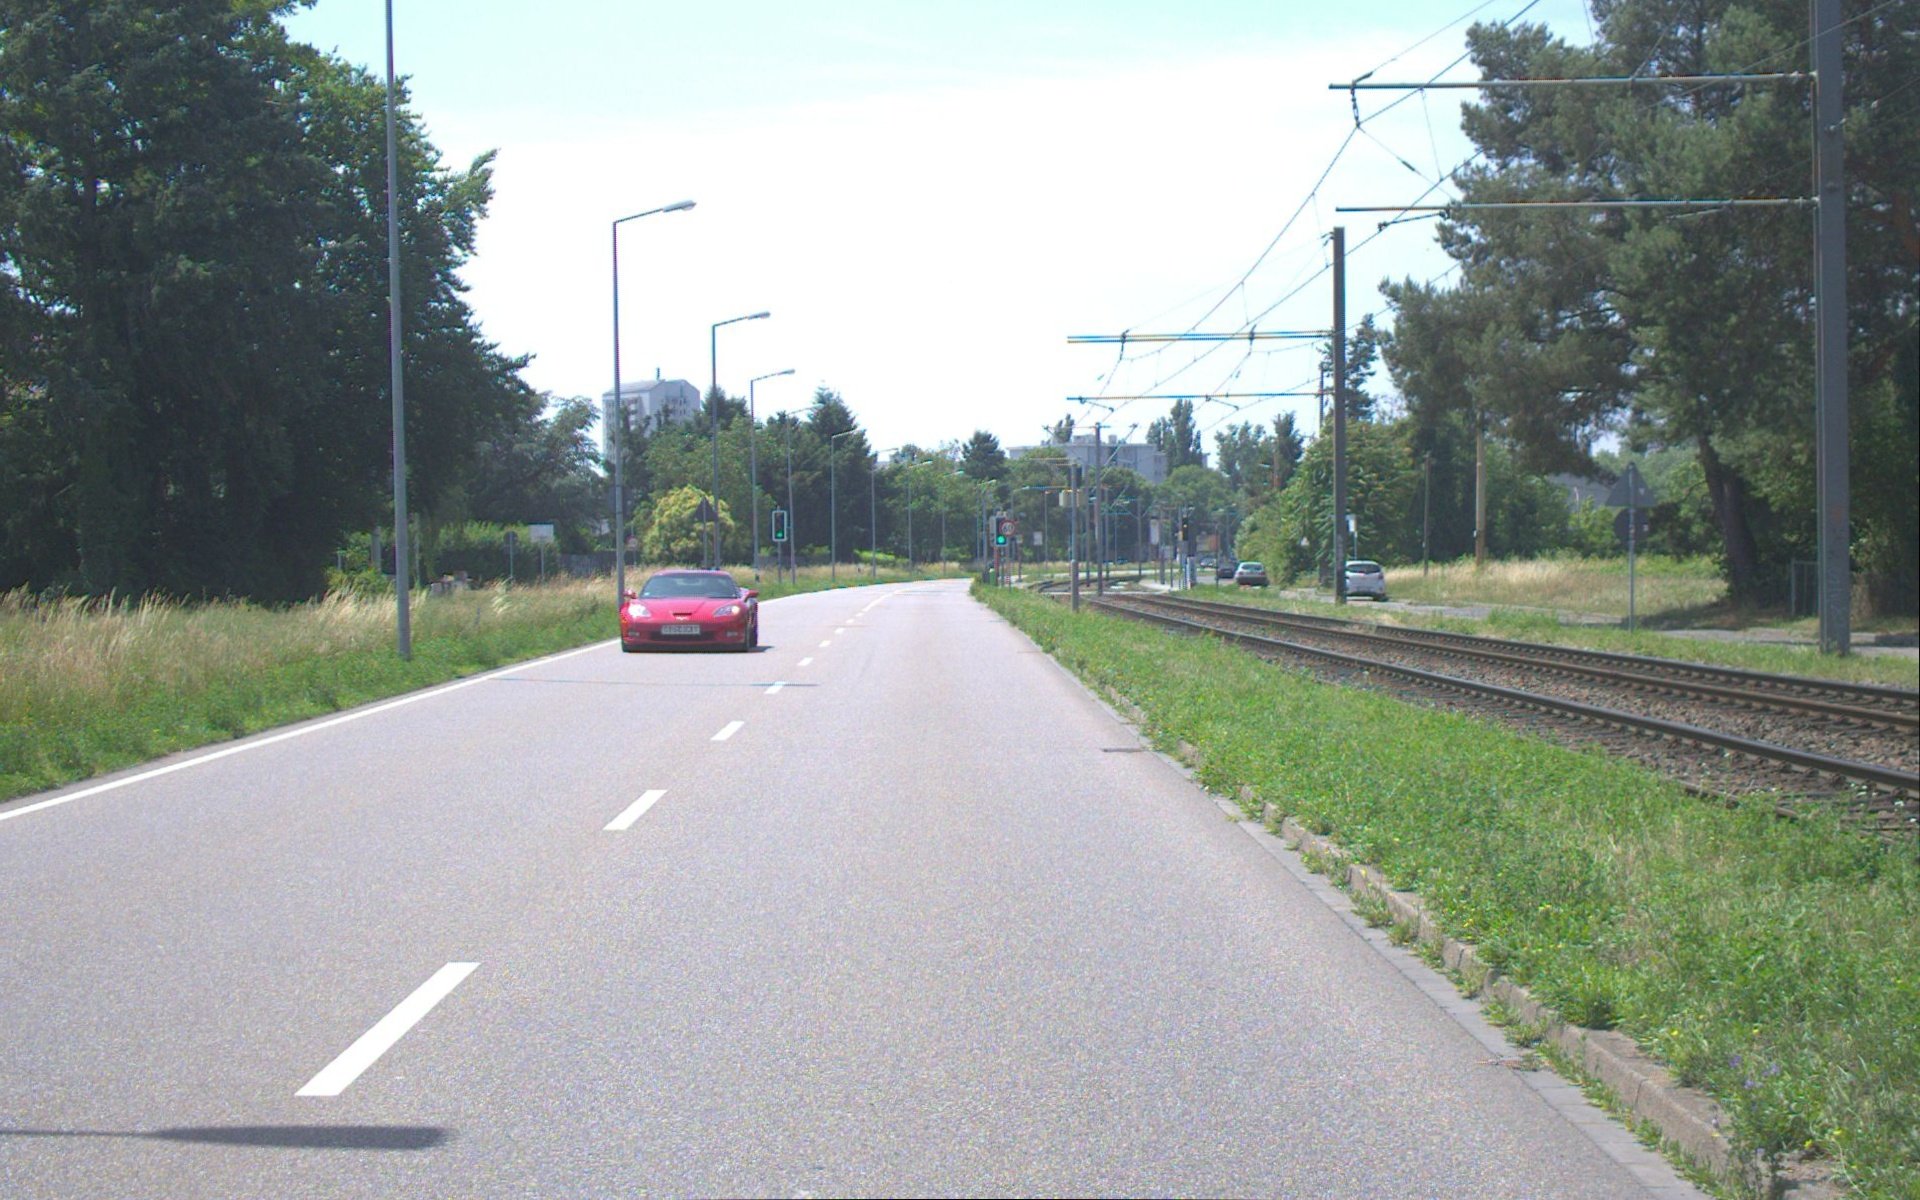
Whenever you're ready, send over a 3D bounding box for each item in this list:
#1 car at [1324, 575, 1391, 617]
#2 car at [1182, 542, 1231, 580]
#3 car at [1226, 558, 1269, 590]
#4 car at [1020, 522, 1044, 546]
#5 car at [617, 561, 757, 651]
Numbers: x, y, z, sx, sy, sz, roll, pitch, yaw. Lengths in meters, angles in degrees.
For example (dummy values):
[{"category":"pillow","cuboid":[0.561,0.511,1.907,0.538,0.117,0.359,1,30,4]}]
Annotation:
[{"category":"car","cuboid":[15.044,-0.142,130.297,1.993,1.503,4.000,-1,0,0]},{"category":"car","cuboid":[10.608,-1.673,148.083,1.744,1.554,4.000,-1,0,0]},{"category":"car","cuboid":[15.543,-1.396,186.036,1.915,1.656,4.000,-1,0,0]},{"category":"car","cuboid":[5.016,-4.617,240.372,1.551,1.579,3.569,-1,0,0]},{"category":"car","cuboid":[-4.123,0.087,52.465,1.807,1.281,4.286,-1,0,-1]}]
